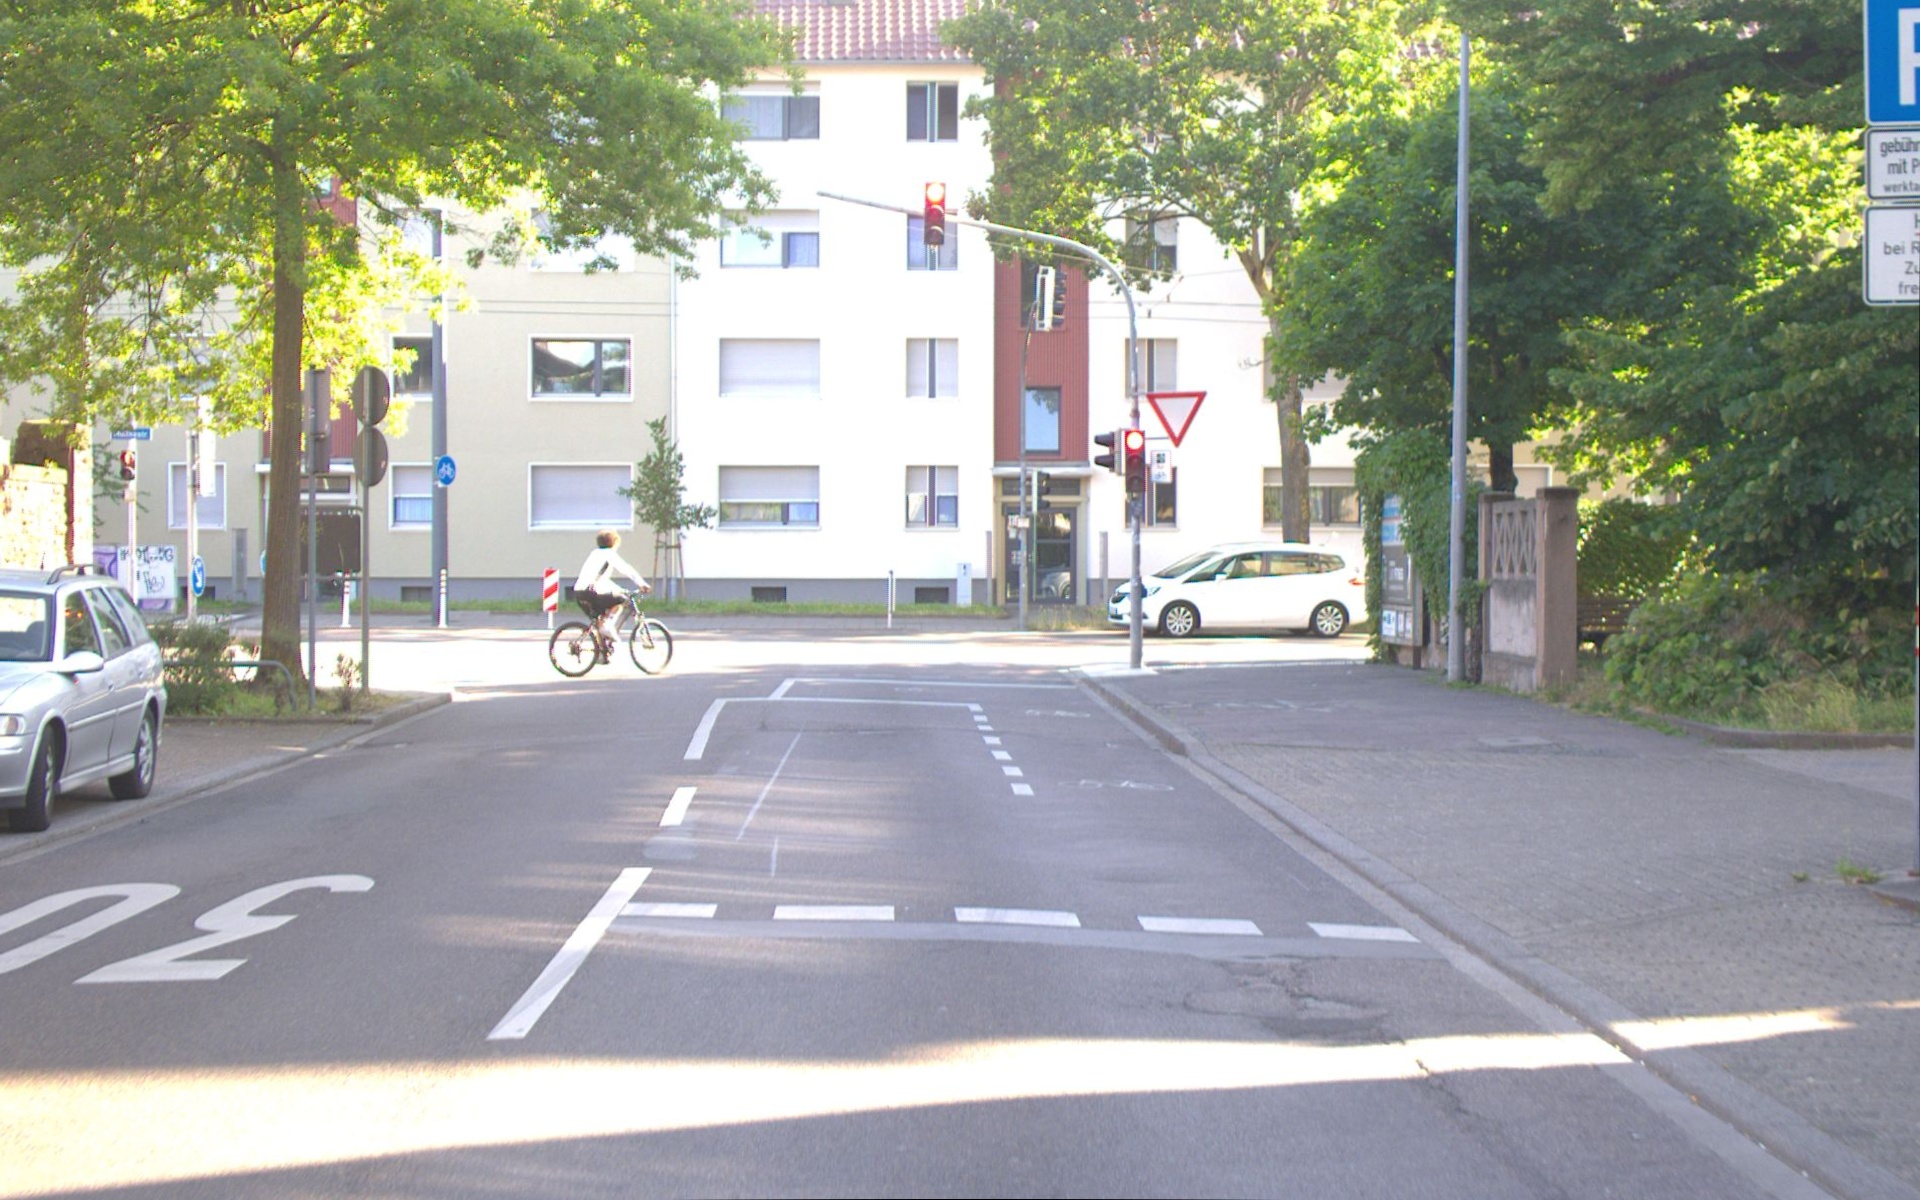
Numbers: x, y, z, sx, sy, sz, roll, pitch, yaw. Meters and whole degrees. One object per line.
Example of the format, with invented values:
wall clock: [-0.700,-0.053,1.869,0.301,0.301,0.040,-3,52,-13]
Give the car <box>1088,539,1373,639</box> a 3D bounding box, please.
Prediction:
car: [4.795,-0.208,61.235,4.660,1.733,2.001,0,1,-13]

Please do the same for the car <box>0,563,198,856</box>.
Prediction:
car: [-5.846,0.548,20.382,1.726,1.470,4.479,2,1,-2]

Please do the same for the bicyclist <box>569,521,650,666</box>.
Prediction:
bicyclist: [-4.262,-0.086,41.824,0.786,1.751,0.612,0,1,-31]

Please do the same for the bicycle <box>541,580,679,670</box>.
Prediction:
bicycle: [-4.257,0.303,41.859,1.683,1.076,0.351,0,1,-32]
